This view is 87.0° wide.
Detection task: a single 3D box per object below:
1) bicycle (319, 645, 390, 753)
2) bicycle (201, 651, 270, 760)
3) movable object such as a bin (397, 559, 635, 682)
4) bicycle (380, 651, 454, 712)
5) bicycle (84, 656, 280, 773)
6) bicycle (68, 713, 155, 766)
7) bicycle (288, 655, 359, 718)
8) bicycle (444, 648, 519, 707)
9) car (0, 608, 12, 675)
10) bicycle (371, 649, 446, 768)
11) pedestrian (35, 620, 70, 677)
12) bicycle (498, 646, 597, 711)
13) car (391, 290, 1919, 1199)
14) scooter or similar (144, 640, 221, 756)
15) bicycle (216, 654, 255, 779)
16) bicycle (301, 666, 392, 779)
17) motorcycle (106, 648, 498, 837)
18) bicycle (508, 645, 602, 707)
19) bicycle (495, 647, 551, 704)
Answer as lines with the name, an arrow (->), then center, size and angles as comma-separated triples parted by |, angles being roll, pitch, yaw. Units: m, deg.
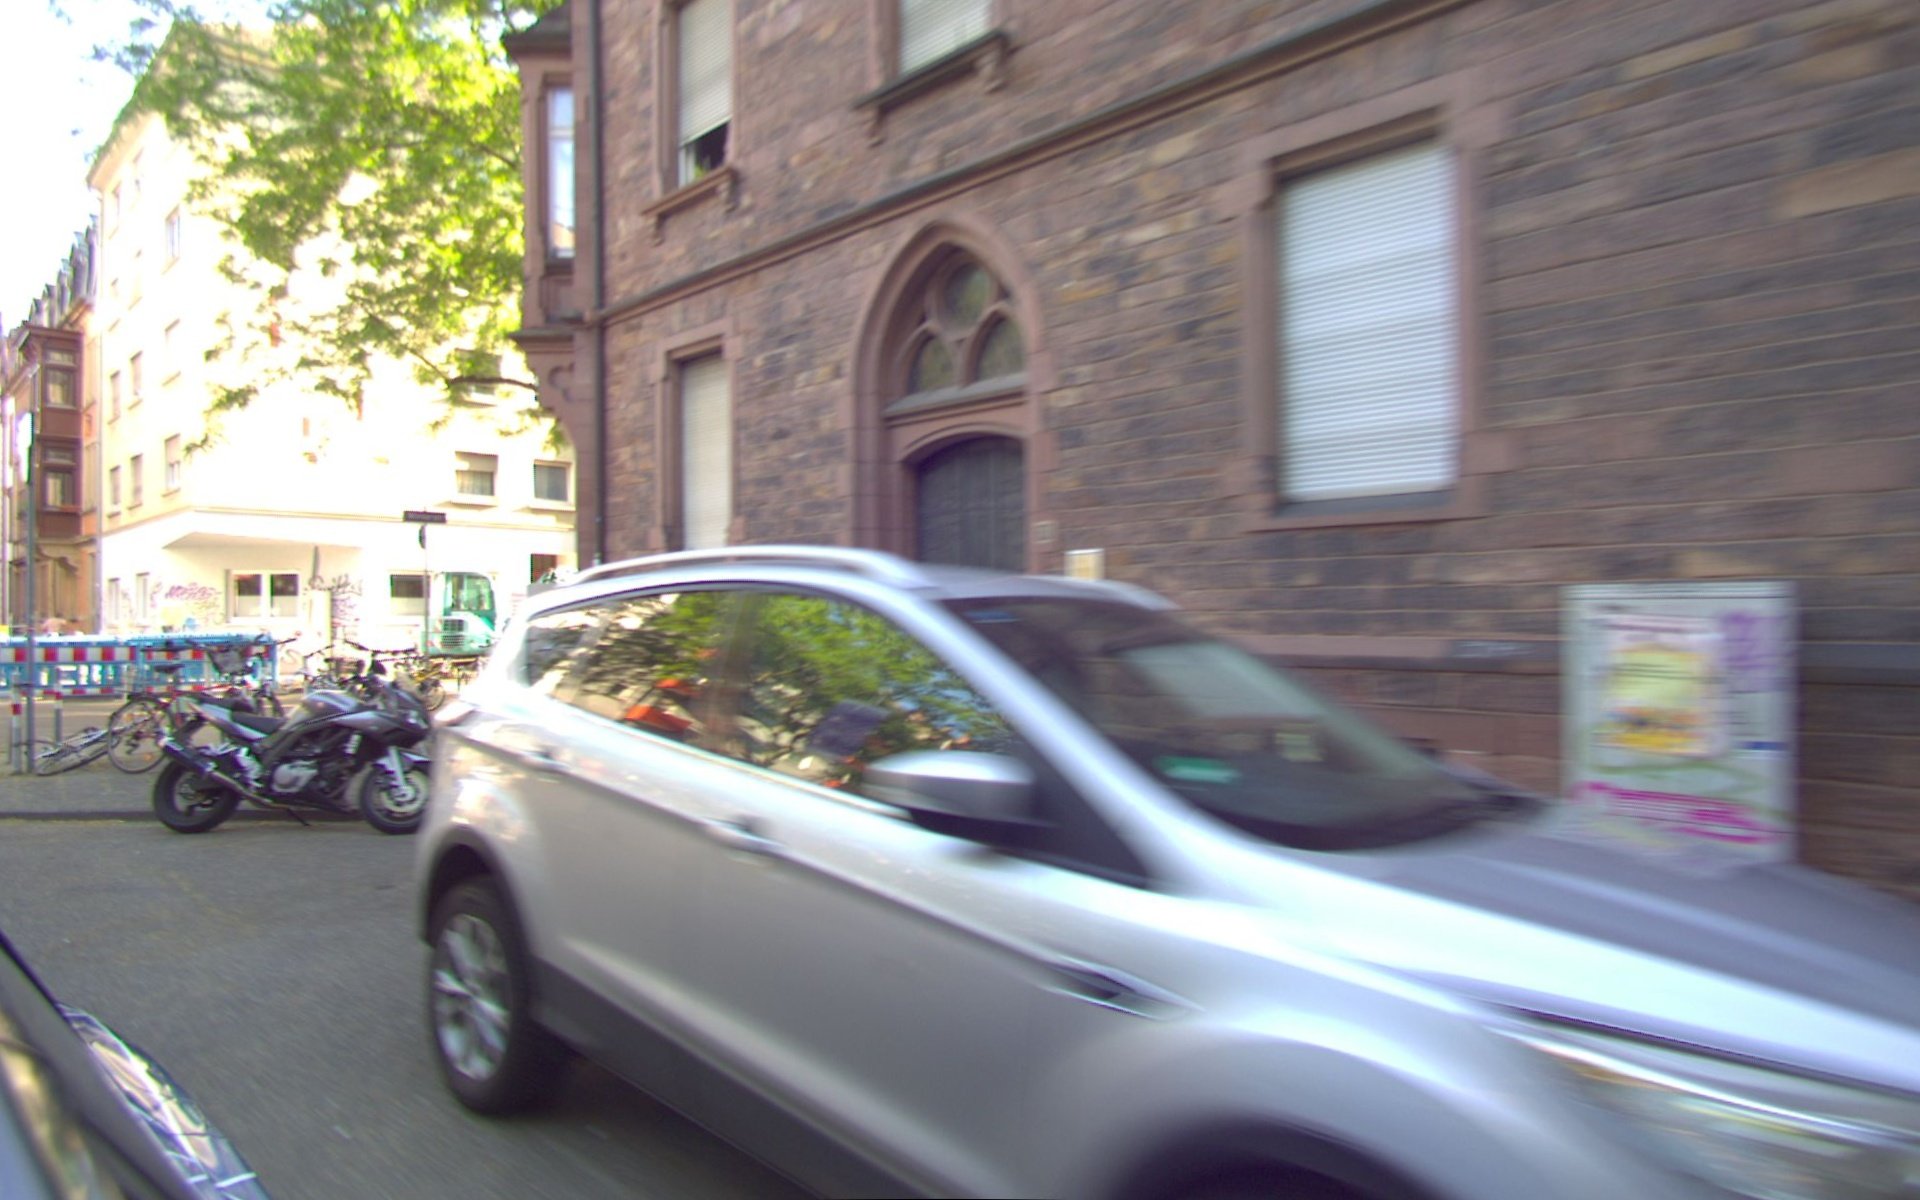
bicycle -> -6.347, 1.020, 10.586 | 1.451, 1.050, 0.230 | -4, -3, 43
bicycle -> -7.385, 1.062, 10.300 | 1.196, 1.050, 0.231 | -4, -3, 38
movable object such as a bin -> -10.990, 0.457, 25.334 | 2.001, 2.768, 5.080 | 1, 1, 45
bicycle -> -8.972, 1.337, 16.689 | 1.756, 0.933, 0.486 | -4, -3, 41
bicycle -> -7.234, 1.060, 9.425 | 1.660, 1.050, 0.234 | 0, 1, 1
bicycle -> -8.689, 1.412, 10.355 | 1.196, 0.446, 0.446 | -4, -2, 38
bicycle -> -10.231, 1.379, 16.246 | 1.756, 0.933, 0.486 | -4, -3, 41
bicycle -> -8.164, 1.317, 17.236 | 1.756, 0.933, 0.486 | -4, -3, 41
car -> -26.536, 1.106, 26.610 | 3.994, 1.718, 1.755 | -2, -2, 38
bicycle -> -5.316, 1.010, 9.725 | 1.296, 1.050, 0.230 | -1, -1, 43
pedestrian -> -26.193, 1.383, 29.210 | 0.597, 1.607, 0.662 | -2, -2, 37
bicycle -> -6.533, 1.229, 16.062 | 1.402, 0.933, 0.313 | -1, -3, -38
car -> 0.258, 0.609, 2.620 | 4.277, 1.687, 1.690 | -1, -3, 42
scooter or similar -> -8.424, 1.051, 10.952 | 1.164, 1.183, 0.440 | -5, -4, 41
bicycle -> -6.643, 1.033, 9.270 | 0.230, 1.050, 1.200 | -1, -1, -38
bicycle -> -5.650, 1.095, 9.294 | 1.419, 0.913, 0.231 | 0, 1, 39
motorcycle -> -4.642, 0.994, 7.269 | 2.292, 1.260, 0.702 | 1, -2, -4
bicycle -> -6.705, 1.250, 16.807 | 1.402, 0.933, 0.313 | -1, -3, -38
bicycle -> -7.647, 1.309, 17.667 | 0.484, 0.933, 1.761 | -1, -3, -37
